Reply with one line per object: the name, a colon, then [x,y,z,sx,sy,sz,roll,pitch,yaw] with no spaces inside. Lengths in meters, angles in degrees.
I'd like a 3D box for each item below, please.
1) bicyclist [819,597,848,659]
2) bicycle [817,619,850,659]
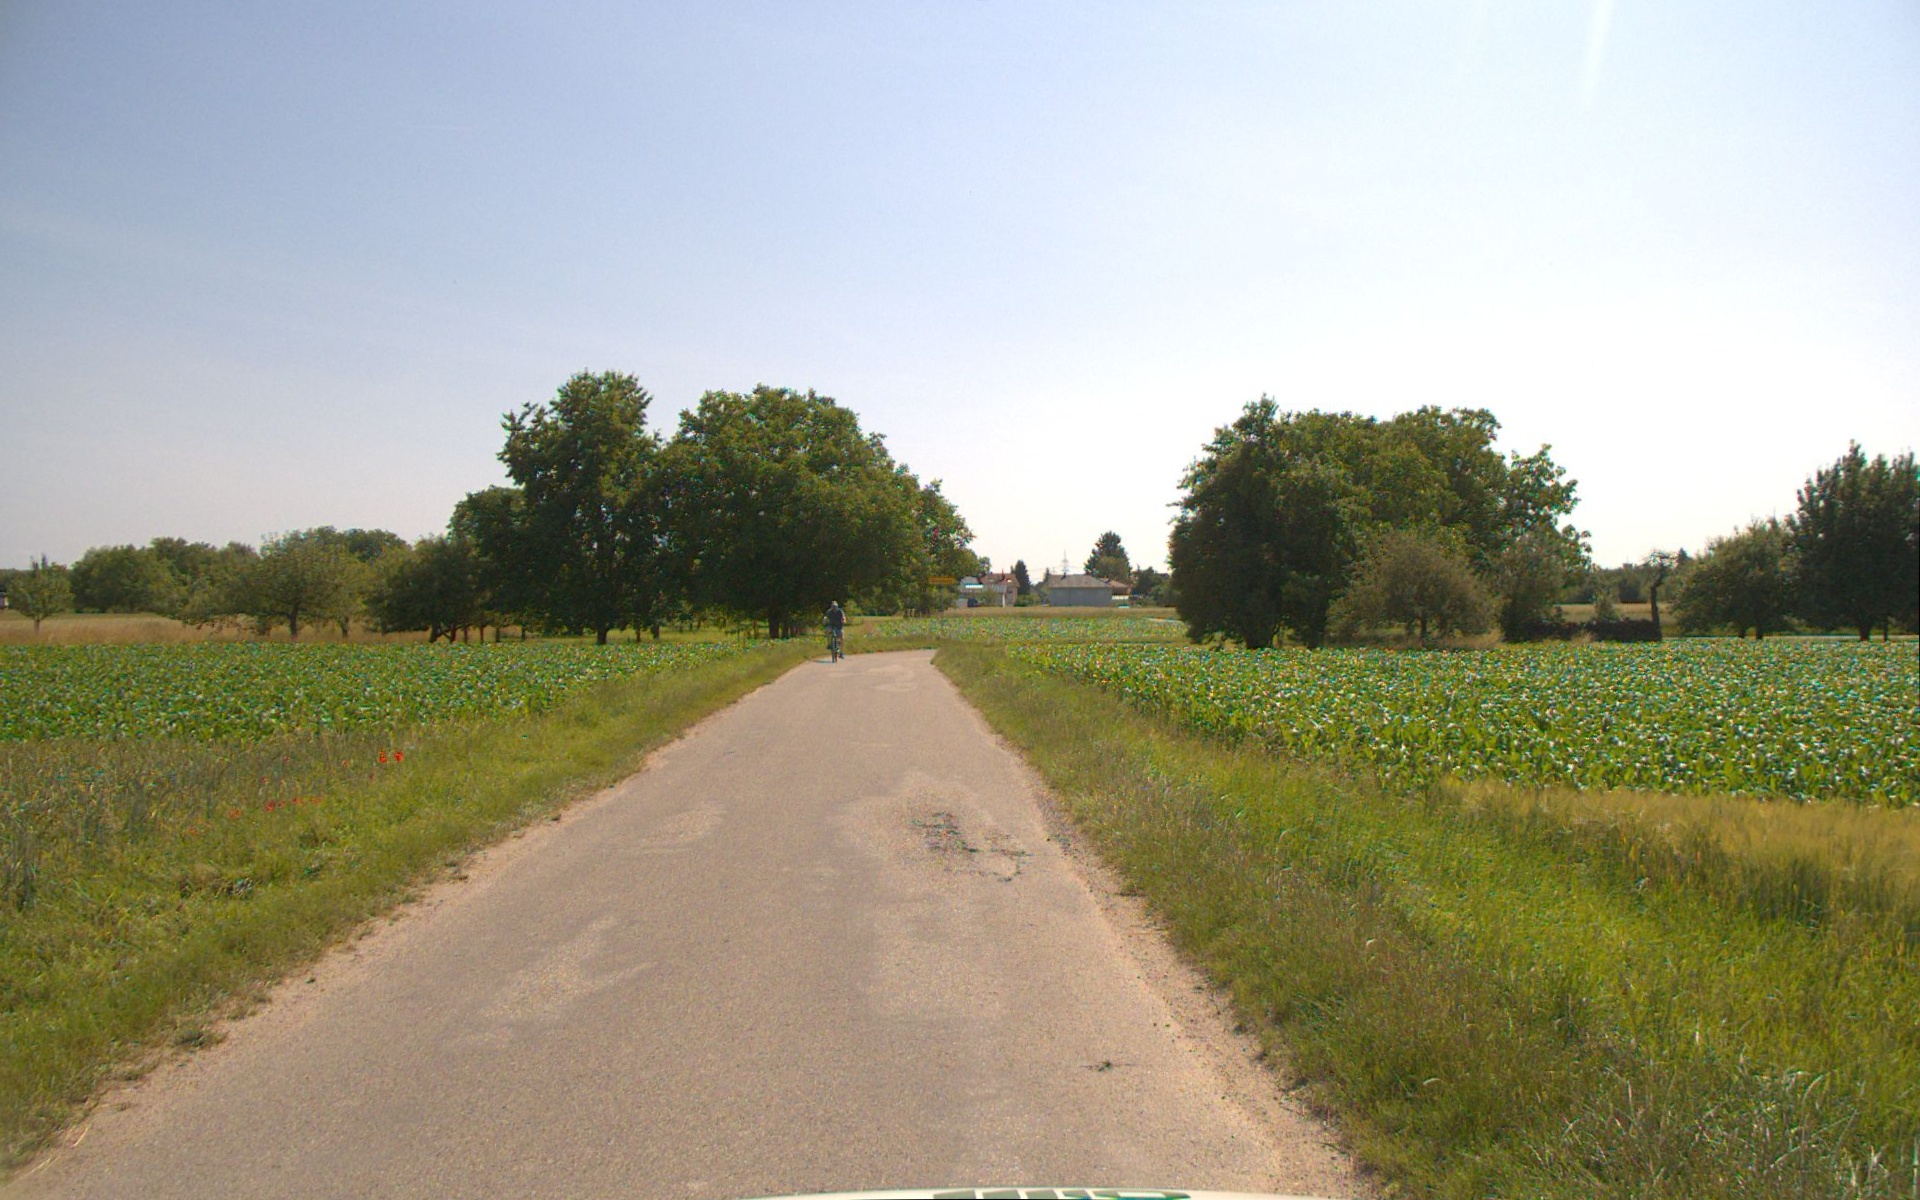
bicyclist: [-3.799,0.830,49.809,0.735,1.822,0.717,-2,-1,2]
bicycle: [-3.793,1.157,49.801,0.735,1.147,1.909,-2,0,3]
